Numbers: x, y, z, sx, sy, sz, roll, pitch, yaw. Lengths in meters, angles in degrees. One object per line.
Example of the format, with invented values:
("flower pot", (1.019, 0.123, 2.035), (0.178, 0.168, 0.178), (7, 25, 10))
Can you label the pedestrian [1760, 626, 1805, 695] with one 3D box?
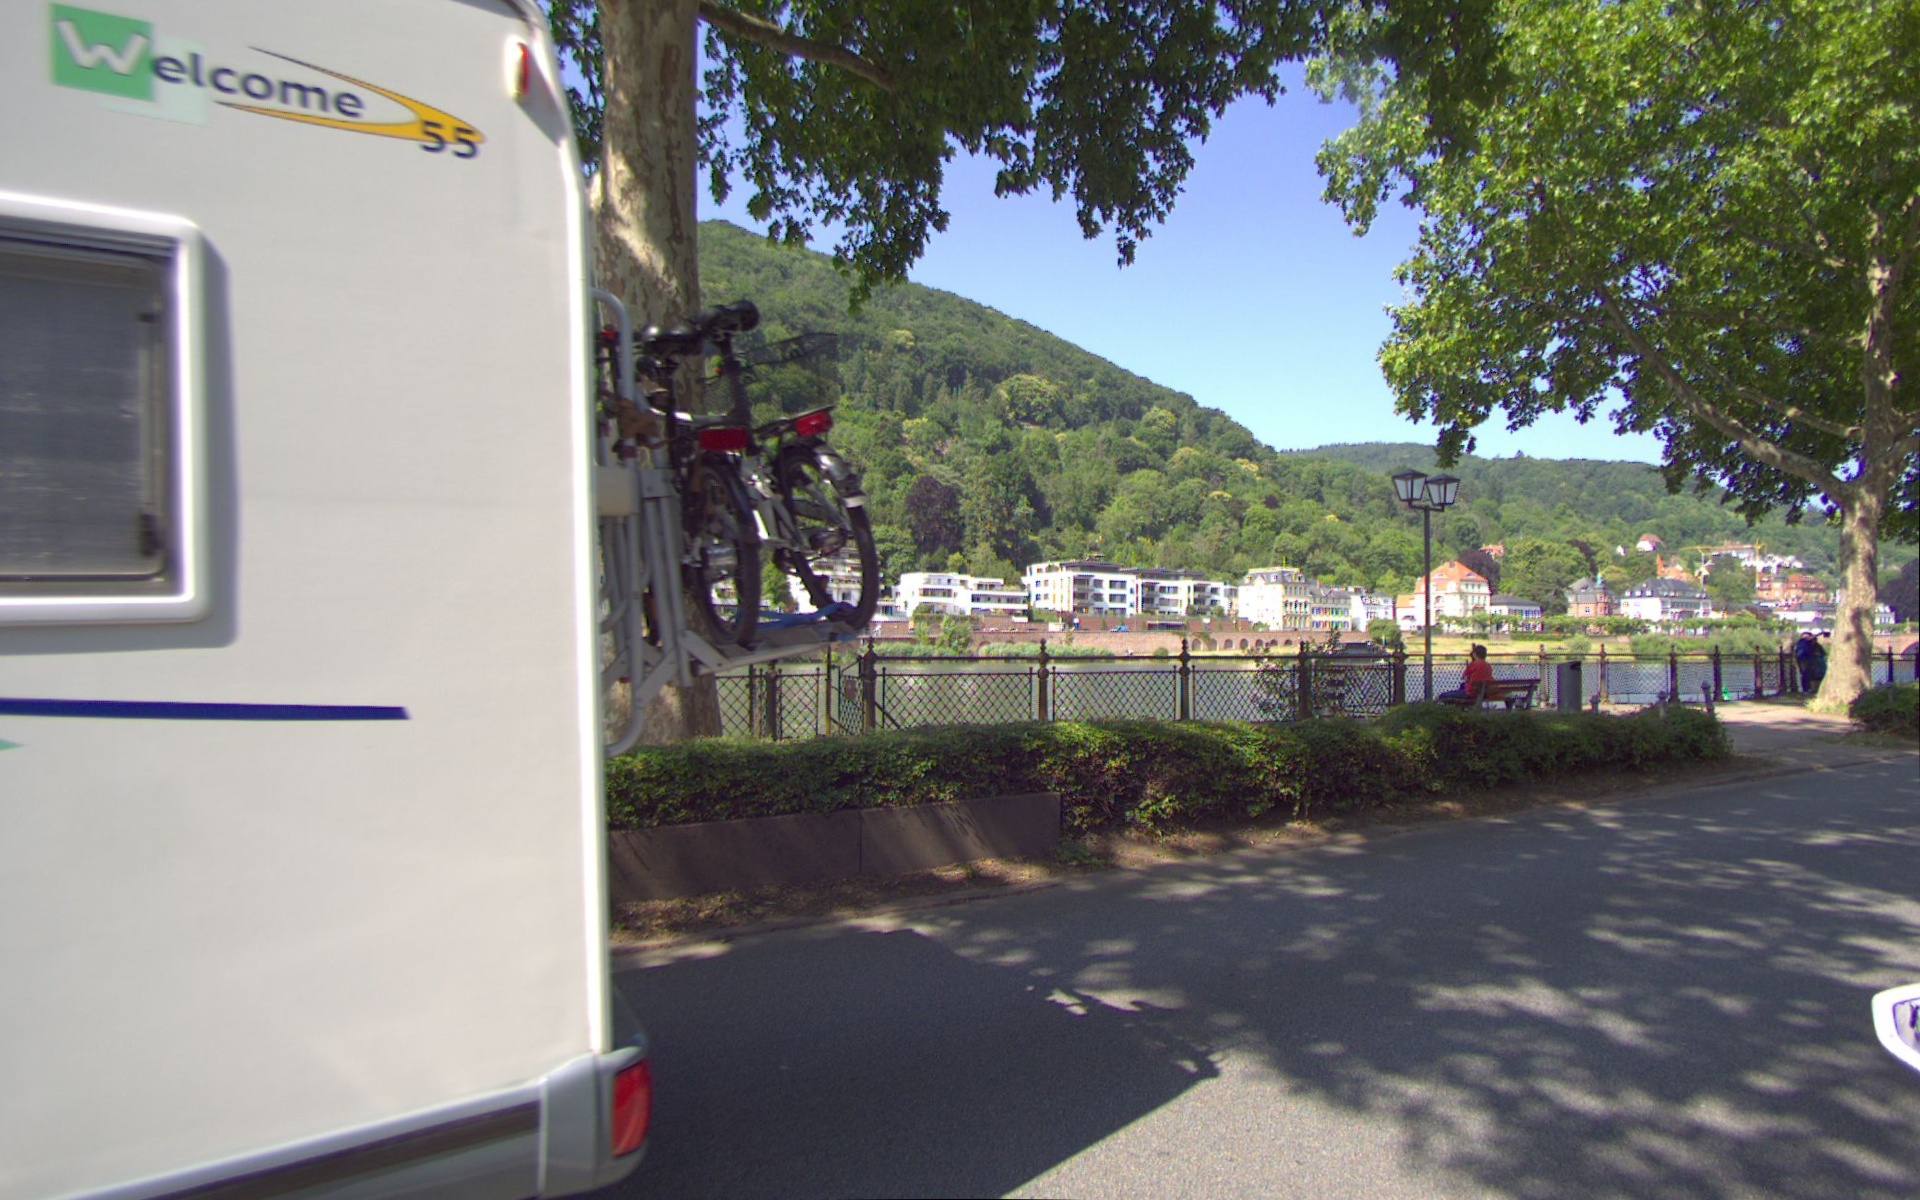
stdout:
("pedestrian", (22.250, 1.623, 27.173), (0.696, 1.820, 0.701), (1, -3, -29))

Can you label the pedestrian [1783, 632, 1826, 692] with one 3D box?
("pedestrian", (23.258, 1.704, 27.668), (0.696, 1.624, 0.701), (2, -2, -29))

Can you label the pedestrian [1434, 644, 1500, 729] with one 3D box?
("pedestrian", (8.320, 1.399, 16.492), (0.649, 1.325, 0.699), (2, 0, -30))

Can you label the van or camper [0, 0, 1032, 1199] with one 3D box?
("van or camper", (-3.060, 0.167, 1.720), (6.194, 2.696, 2.311), (2, -4, -31))
